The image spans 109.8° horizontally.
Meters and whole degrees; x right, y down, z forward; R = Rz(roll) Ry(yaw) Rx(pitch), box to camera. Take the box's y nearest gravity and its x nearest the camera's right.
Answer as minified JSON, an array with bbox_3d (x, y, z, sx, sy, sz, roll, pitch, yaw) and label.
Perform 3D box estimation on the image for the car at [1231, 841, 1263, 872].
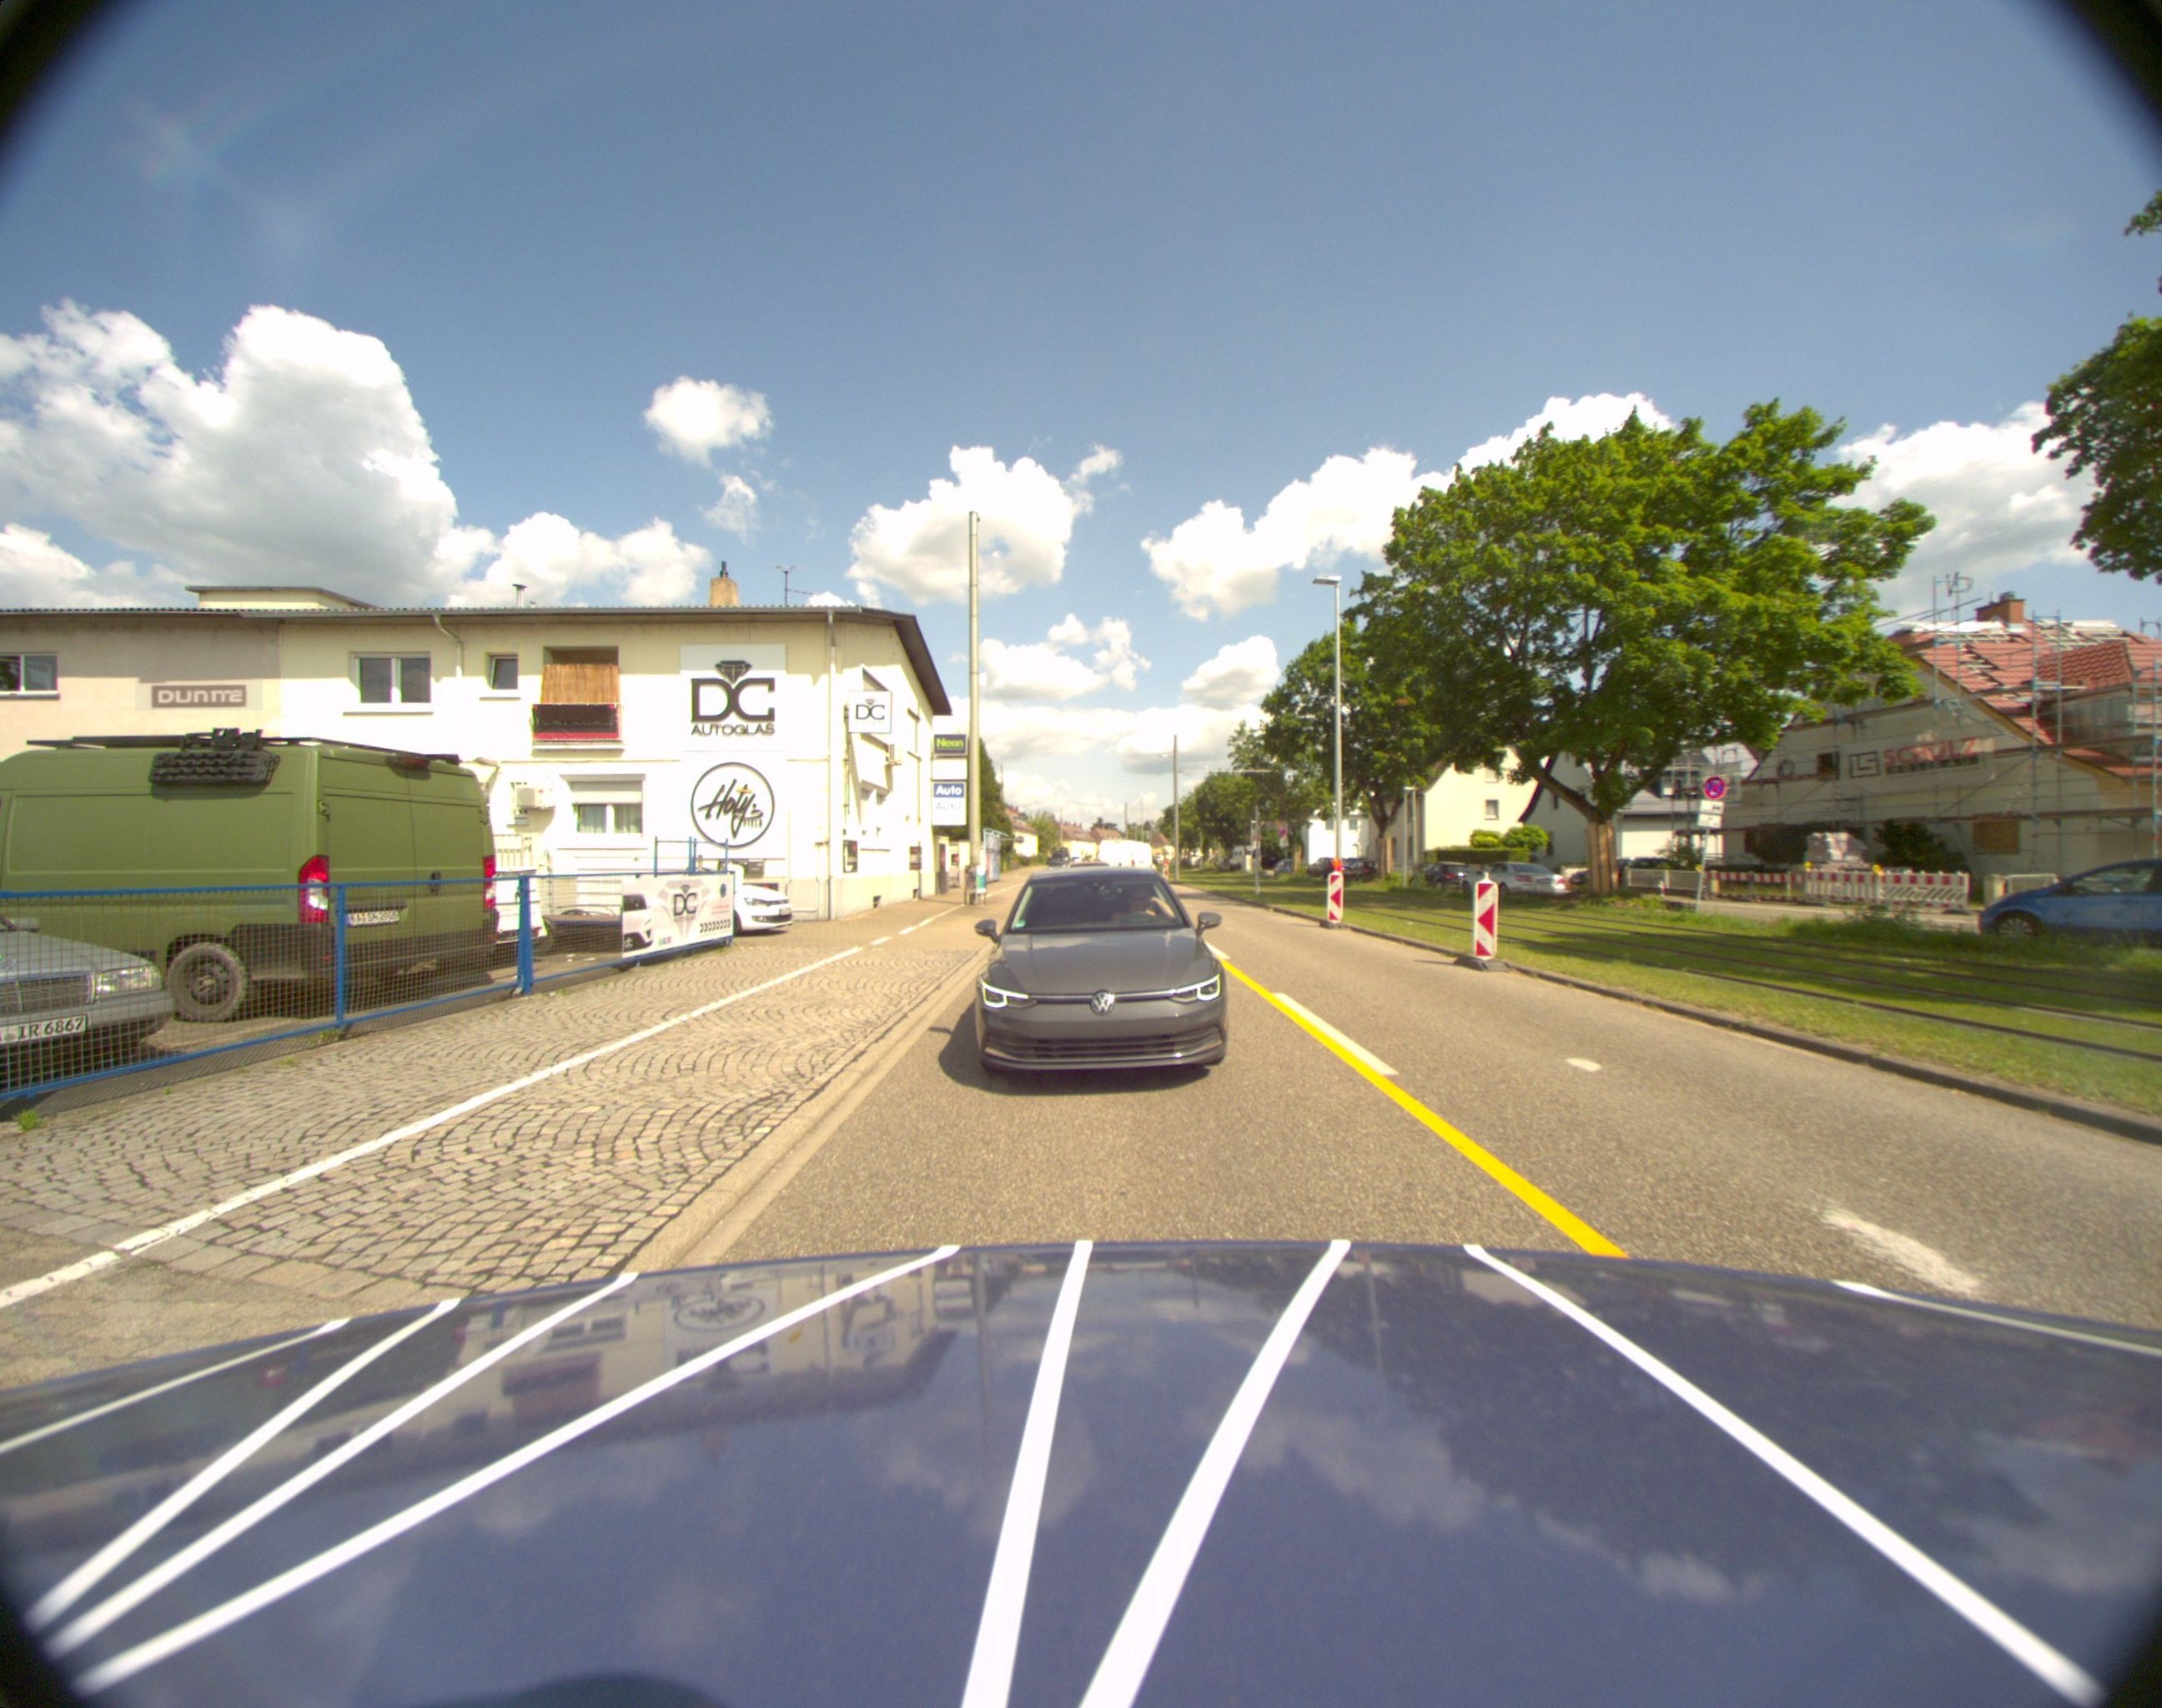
[{"bbox_3d":[16.816,0.286,77.284,2.136,3.019,5.084,-1,-1,1],"label":"car"}]

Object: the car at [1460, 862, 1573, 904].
[{"bbox_3d":[16.433,1.074,28.964,1.788,1.477,4.523,-1,-1,2],"label":"car"}]

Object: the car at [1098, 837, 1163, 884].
[{"bbox_3d":[2.903,0.350,43.013,2.087,2.449,5.850,2,0,19],"label":"car"}]

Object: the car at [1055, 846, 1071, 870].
[{"bbox_3d":[-1.914,0.460,82.451,1.702,2.510,5.144,0,0,0],"label":"car"}]

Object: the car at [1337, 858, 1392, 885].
[{"bbox_3d":[16.770,1.045,45.167,1.702,1.477,4.407,-1,-1,1],"label":"car"}]

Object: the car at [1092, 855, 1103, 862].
[{"bbox_3d":[3.842,0.931,173.609,1.700,1.574,4.004,0,0,12],"label":"car"}]

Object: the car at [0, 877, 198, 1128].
[{"bbox_3d":[-8.457,0.892,4.785,4.282,1.444,1.713,0,0,8],"label":"car"}]

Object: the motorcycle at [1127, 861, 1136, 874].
[{"bbox_3d":[4.332,1.172,65.215,0.659,1.040,2.111,0,0,0],"label":"motorcycle"}]

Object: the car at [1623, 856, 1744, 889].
[{"bbox_3d":[28.906,0.900,36.524,4.402,1.477,1.704,-1,-1,1],"label":"car"}]

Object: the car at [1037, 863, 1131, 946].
[{"bbox_3d":[0.081,0.946,15.834,1.702,1.477,4.000,0,0,1],"label":"car"}]

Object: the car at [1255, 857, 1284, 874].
[{"bbox_3d":[17.645,1.089,71.339,1.702,1.477,4.407,-1,-1,1],"label":"car"}]

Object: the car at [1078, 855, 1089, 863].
[{"bbox_3d":[0.481,0.919,146.718,1.701,1.574,4.002,0,0,6],"label":"car"}]

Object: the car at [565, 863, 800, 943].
[{"bbox_3d":[-7.660,0.920,14.829,3.775,1.454,1.555,0,0,2],"label":"car"}]

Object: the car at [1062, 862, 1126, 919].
[{"bbox_3d":[0.386,1.006,22.271,1.702,1.477,4.000,0,0,1],"label":"car"}]

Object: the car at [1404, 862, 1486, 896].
[{"bbox_3d":[16.626,1.129,34.950,1.702,1.477,4.407,-1,-1,1],"label":"car"}]

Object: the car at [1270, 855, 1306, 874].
[{"bbox_3d":[16.643,0.886,61.294,1.702,1.477,4.407,-1,-1,1],"label":"car"}]

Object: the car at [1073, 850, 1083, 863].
[{"bbox_3d":[-0.491,0.436,136.414,1.701,2.233,4.947,0,0,2],"label":"car"}]

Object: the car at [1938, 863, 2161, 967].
[{"bbox_3d":[16.204,0.873,11.411,1.702,1.477,4.407,-1,-1,1],"label":"car"}]

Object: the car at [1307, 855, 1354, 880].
[{"bbox_3d":[16.554,0.909,50.673,1.702,1.562,4.407,-1,-1,1],"label":"car"}]

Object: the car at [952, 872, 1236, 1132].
[{"bbox_3d":[0.105,0.940,6.575,1.702,1.477,4.000,0,0,1],"label":"car"}]

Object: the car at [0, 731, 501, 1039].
[{"bbox_3d":[-8.724,0.275,7.621,4.207,2.627,2.113,0,0,2],"label":"car"}]

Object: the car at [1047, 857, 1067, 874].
[{"bbox_3d":[-2.186,1.057,70.765,1.702,1.574,4.000,0,0,1],"label":"car"}]

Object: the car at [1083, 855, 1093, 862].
[{"bbox_3d":[1.439,0.923,155.849,1.701,1.574,4.002,0,0,7],"label":"car"}]

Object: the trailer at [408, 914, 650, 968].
[{"bbox_3d":[-8.366,1.311,11.671,2.733,0.662,1.329,0,0,-1],"label":"trailer"}]

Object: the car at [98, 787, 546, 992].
[{"bbox_3d":[-9.500,0.423,9.726,4.207,2.392,1.586,0,0,2],"label":"car"}]

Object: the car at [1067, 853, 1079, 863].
[{"bbox_3d":[-1.317,0.687,123.052,1.701,1.574,4.001,0,0,3],"label":"car"}]
